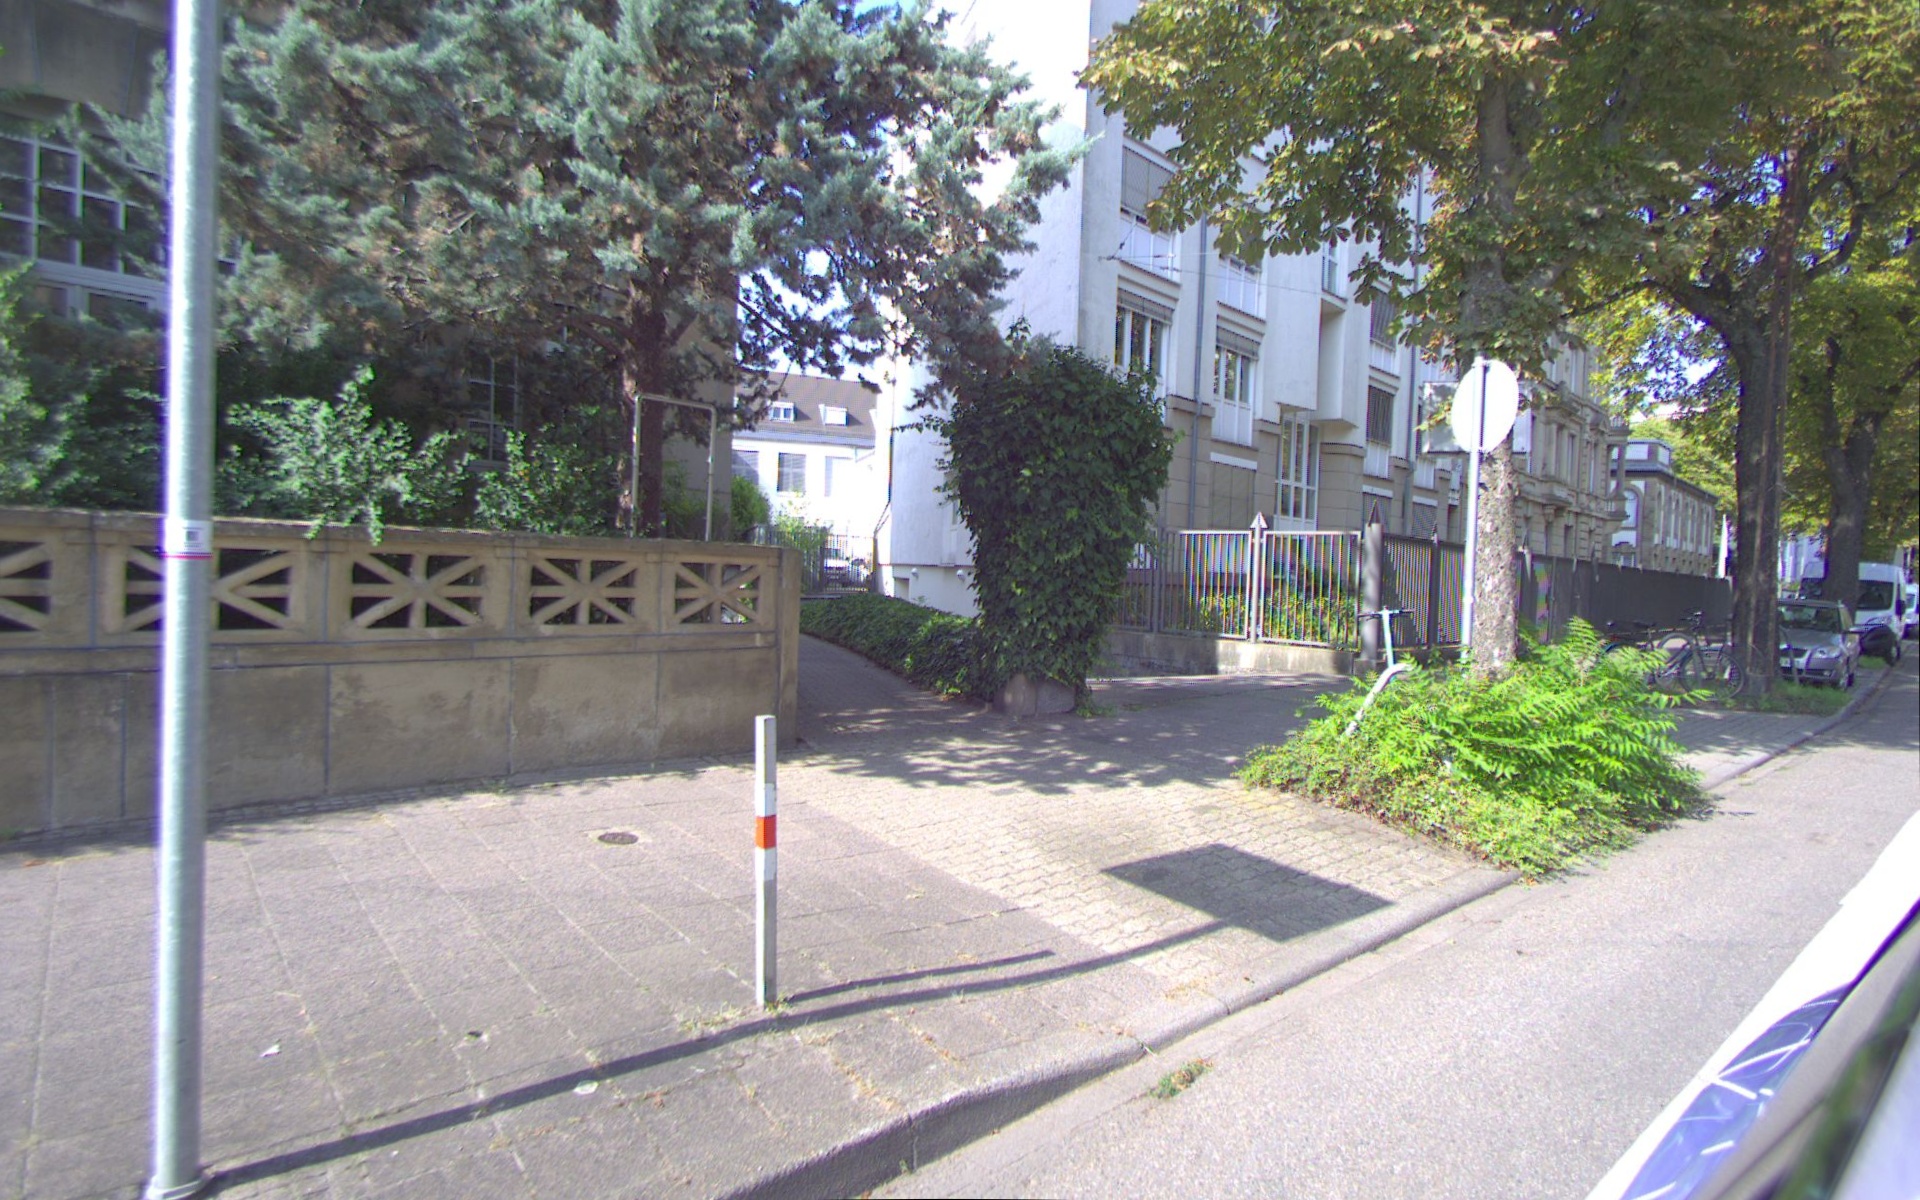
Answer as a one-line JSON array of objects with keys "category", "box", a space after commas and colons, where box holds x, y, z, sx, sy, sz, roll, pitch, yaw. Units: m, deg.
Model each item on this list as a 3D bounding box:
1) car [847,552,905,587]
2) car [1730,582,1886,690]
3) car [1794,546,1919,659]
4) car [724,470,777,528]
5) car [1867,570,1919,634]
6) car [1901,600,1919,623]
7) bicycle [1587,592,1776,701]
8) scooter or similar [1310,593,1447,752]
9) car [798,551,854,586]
[{"category": "car", "box": [-4.158, -1.528, 49.388, 1.797, 1.585, 4.010, 1, 2, -20]}, {"category": "car", "box": [14.961, 0.542, 17.776, 4.286, 1.541, 1.609, 0, 6, -45]}, {"category": "car", "box": [23.148, 0.015, 25.927, 6.127, 2.529, 2.048, 0, 3, -45]}, {"category": "car", "box": [-11.001, -5.199, 52.953, 1.958, 2.689, 4.992, 1, 2, -20]}, {"category": "car", "box": [41.827, 0.103, 44.785, 5.771, 2.571, 1.996, 0, 4, -44]}, {"category": "car", "box": [61.395, 0.732, 64.654, 1.754, 1.373, 3.728, 4, 3, 44]}, {"category": "bicycle", "box": [9.161, 0.576, 12.898, 1.810, 1.179, 0.505, 4, 7, 6]}, {"category": "scooter or similar", "box": [3.538, 0.576, 8.540, 1.015, 1.211, 0.559, 0, 5, -39]}, {"category": "car", "box": [-6.466, -1.550, 48.546, 1.797, 1.585, 4.010, 1, 2, -20]}]
